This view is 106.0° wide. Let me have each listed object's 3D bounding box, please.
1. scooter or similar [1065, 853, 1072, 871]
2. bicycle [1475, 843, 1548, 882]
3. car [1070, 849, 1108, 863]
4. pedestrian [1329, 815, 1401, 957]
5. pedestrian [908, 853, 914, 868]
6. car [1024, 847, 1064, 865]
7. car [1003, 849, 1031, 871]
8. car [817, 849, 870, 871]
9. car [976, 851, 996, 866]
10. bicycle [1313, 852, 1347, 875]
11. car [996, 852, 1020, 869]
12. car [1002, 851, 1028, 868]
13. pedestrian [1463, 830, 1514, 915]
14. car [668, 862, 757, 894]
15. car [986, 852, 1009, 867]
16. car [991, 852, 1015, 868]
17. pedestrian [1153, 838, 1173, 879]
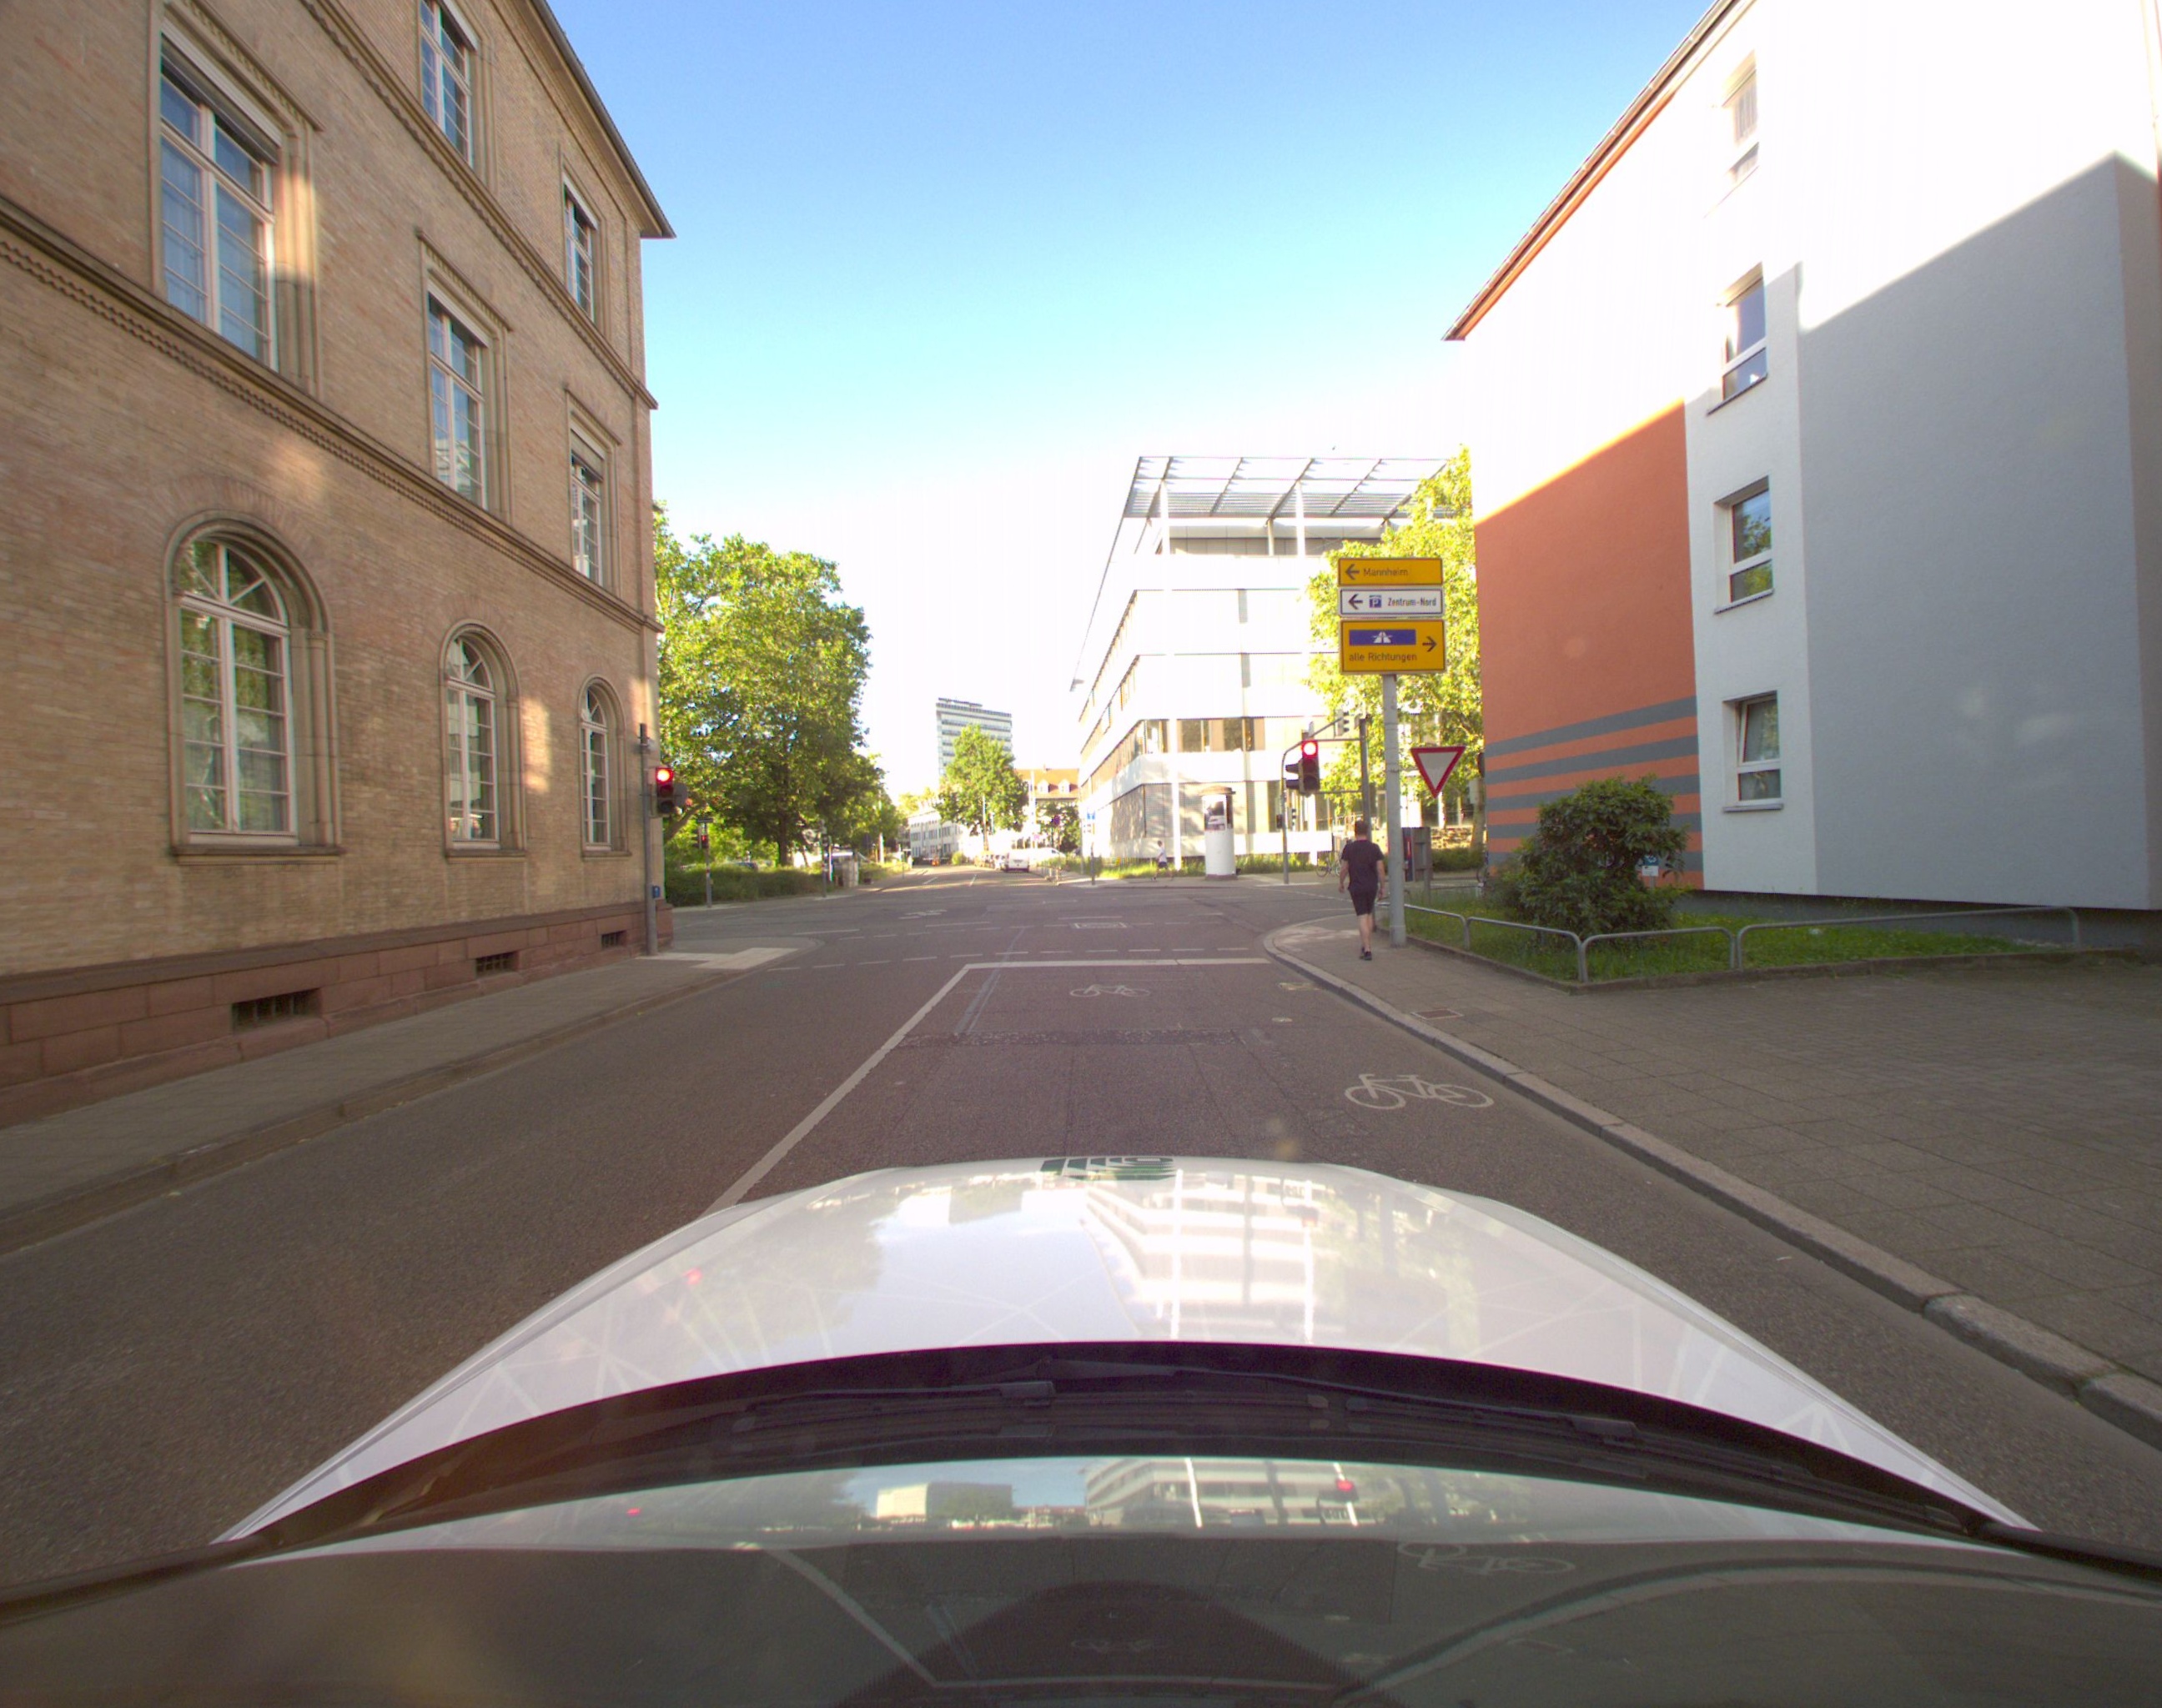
[{"bbox_3d":[-0.911,0.582,58.458,0.436,1.256,1.418,-2,0,-2],"label":"scooter or similar"},{"bbox_3d":[13.793,0.274,26.131,1.953,1.152,0.593,-2,0,7],"label":"bicycle"},{"bbox_3d":[1.026,0.256,104.938,4.644,1.725,1.990,0,-1,-15],"label":"car"},{"bbox_3d":[3.738,0.416,10.779,0.697,1.810,0.720,0,-1,1],"label":"pedestrian"},{"bbox_3d":[-18.999,0.725,90.971,0.700,1.587,0.633,0,-1,-14],"label":"pedestrian"},{"bbox_3d":[-4.680,0.274,103.231,4.802,2.159,1.989,0,-1,-16],"label":"car"},{"bbox_3d":[-5.170,0.469,65.100,1.992,1.725,4.640,0,-1,-7],"label":"car"},{"bbox_3d":[-22.022,0.534,75.751,4.441,2.014,1.995,0,-1,-8],"label":"car"},{"bbox_3d":[-11.298,0.540,96.286,1.995,1.725,4.633,0,-1,-11],"label":"car"},{"bbox_3d":[11.008,0.423,36.009,0.381,1.008,1.416,-2,0,-40],"label":"bicycle"},{"bbox_3d":[-6.917,0.610,77.135,1.993,1.499,4.638,0,-1,-8],"label":"car"},{"bbox_3d":[-5.845,0.481,71.335,1.993,1.499,4.638,0,-1,-8],"label":"car"},{"bbox_3d":[8.878,0.390,17.760,0.721,1.810,0.695,0,-1,-28],"label":"pedestrian"},{"bbox_3d":[-17.081,1.097,37.885,3.407,1.457,1.646,0,-1,-8],"label":"car"},{"bbox_3d":[-8.881,0.593,86.362,1.994,1.499,4.635,0,-1,-10],"label":"car"},{"bbox_3d":[-7.840,0.587,81.609,1.994,1.499,4.270,0,-1,-11],"label":"car"},{"bbox_3d":[3.804,0.225,37.885,0.910,1.869,0.743,0,-1,3],"label":"pedestrian"}]
